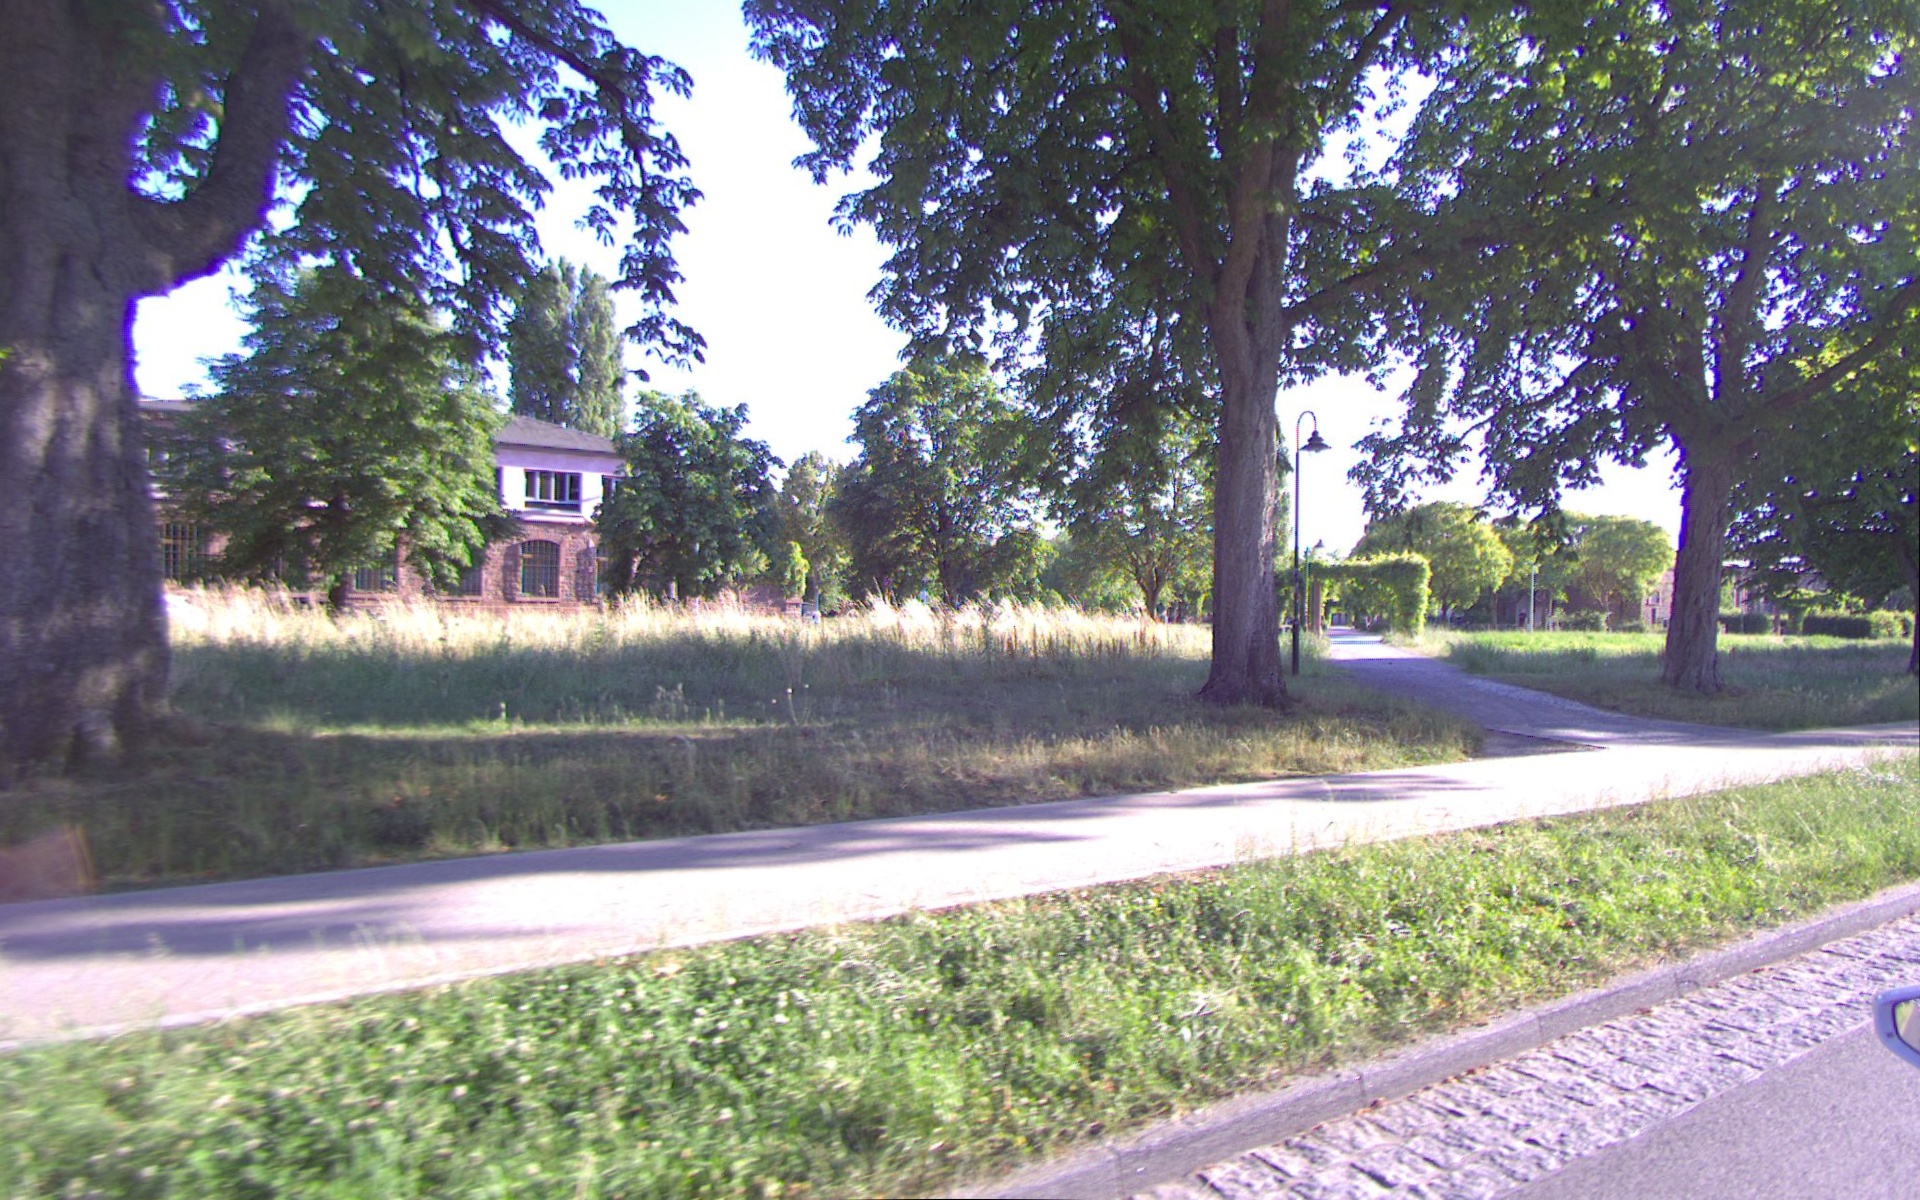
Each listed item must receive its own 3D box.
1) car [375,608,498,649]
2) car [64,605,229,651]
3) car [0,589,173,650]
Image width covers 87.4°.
[{"bbox_3d":[-19.276,1.027,37.027,3.953,1.424,1.621,1,0,-31],"label":"car"},{"bbox_3d":[-26.501,0.904,32.889,3.953,1.424,1.621,1,0,-31],"label":"car"},{"bbox_3d":[-24.498,0.532,27.691,4.173,1.619,1.684,1,0,-31],"label":"car"}]
